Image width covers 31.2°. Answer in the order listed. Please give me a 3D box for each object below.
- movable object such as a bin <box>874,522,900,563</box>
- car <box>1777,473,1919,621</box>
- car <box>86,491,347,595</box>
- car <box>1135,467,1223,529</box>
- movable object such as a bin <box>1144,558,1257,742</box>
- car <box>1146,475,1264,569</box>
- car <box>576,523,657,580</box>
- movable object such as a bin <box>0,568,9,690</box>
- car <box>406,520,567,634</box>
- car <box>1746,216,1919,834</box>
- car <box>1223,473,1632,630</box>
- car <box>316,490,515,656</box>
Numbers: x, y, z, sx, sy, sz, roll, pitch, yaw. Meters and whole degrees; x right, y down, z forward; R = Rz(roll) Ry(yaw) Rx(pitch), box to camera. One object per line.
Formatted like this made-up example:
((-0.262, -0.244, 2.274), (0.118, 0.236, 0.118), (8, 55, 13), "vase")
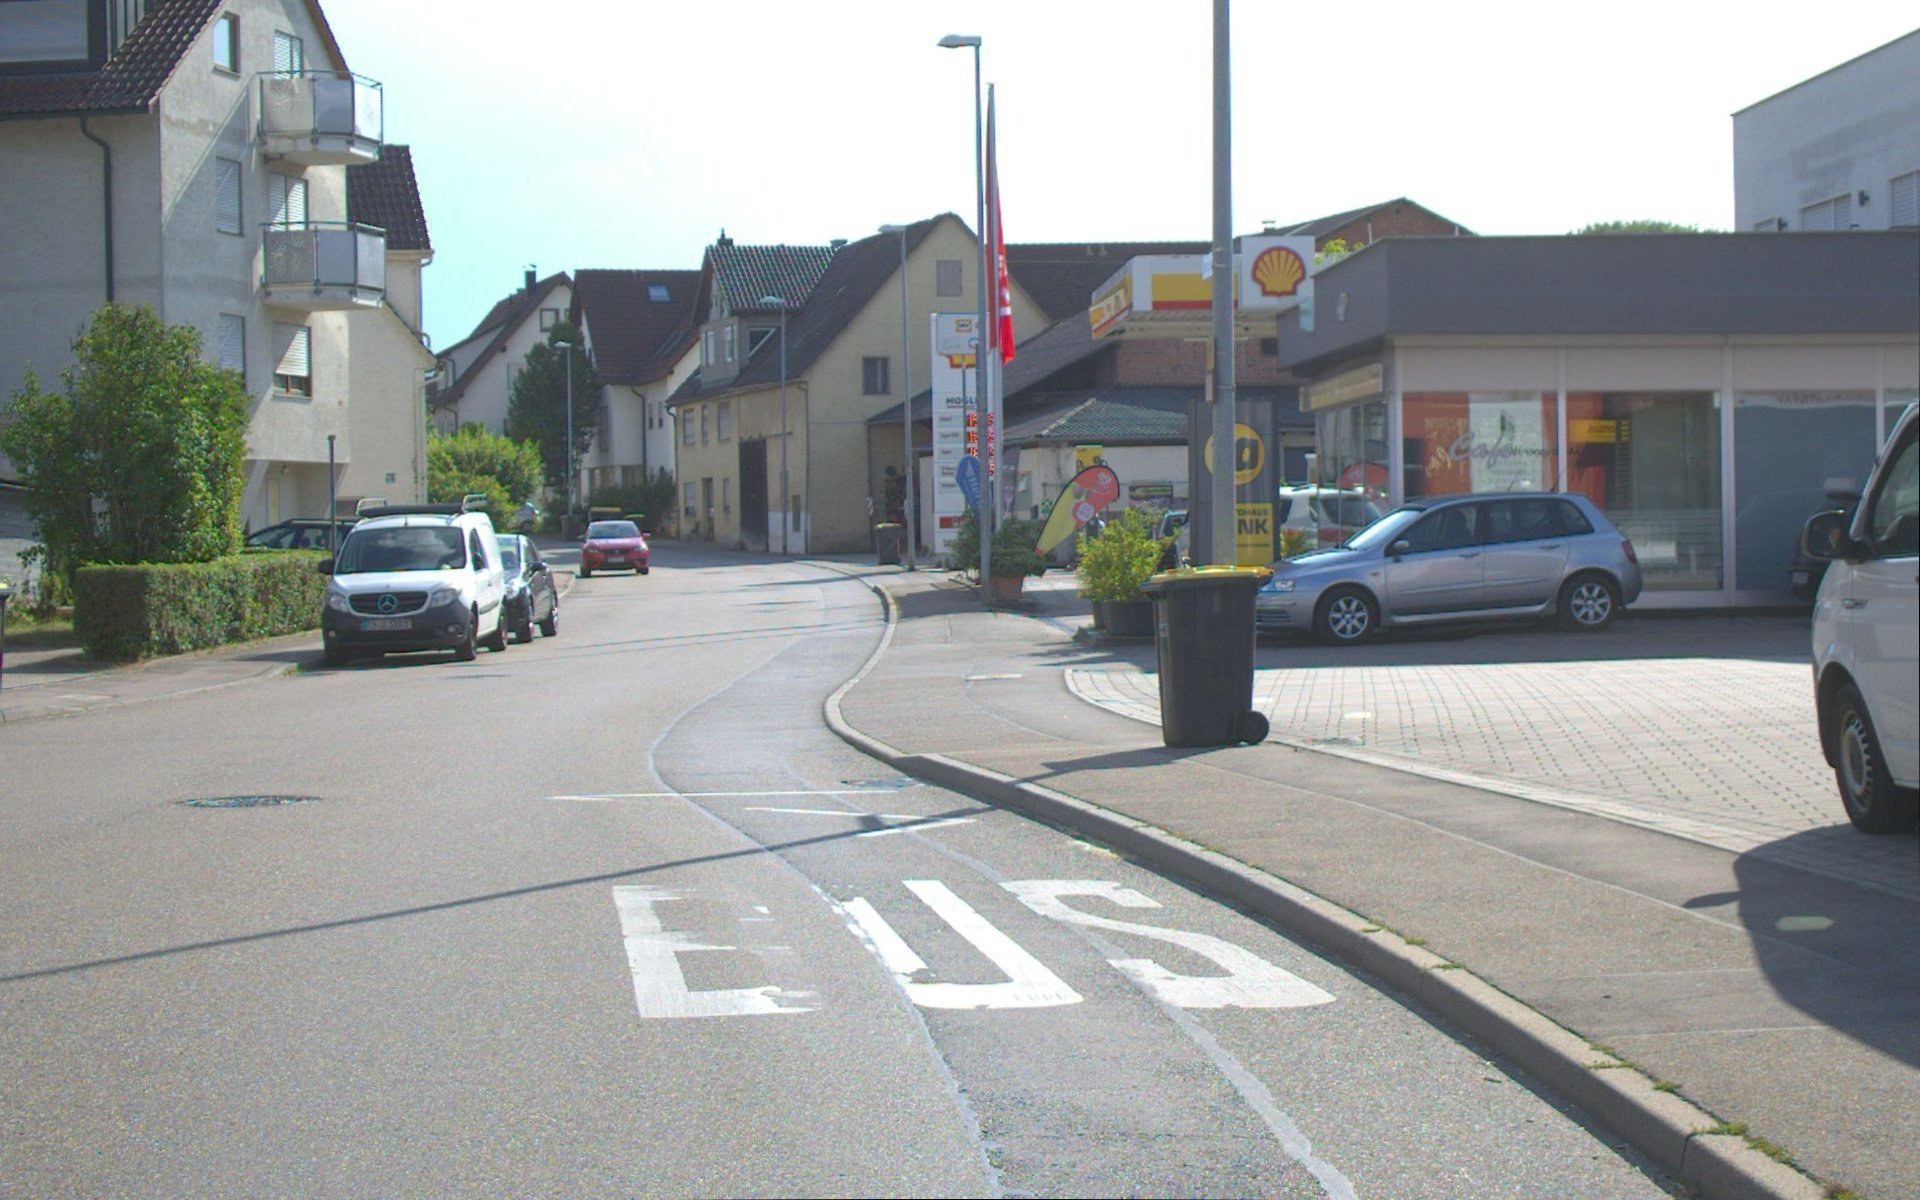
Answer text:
((-1.945, -1.544, 91.973), (0.653, 1.069, 0.513), (-1, 2, -4), "movable object such as a bin")
((10.811, -0.603, 36.319), (3.904, 1.462, 1.717), (-1, 3, -5), "car")
((-12.865, -1.002, 59.595), (3.989, 1.533, 1.762), (4, 2, 10), "car")
((5.148, -2.412, 81.213), (1.578, 1.422, 4.382), (0, 2, -3), "car")
((1.452, 0.293, 20.808), (0.567, 1.071, 0.573), (-2, 1, -5), "movable object such as a bin")
((4.328, -1.420, 61.184), (1.671, 1.572, 3.999), (-2, 2, -2), "car")
((-9.208, -1.306, 91.991), (1.708, 1.430, 3.781), (-3, 1, -12), "car")
((-8.960, 0.263, 30.991), (0.611, 1.097, 0.576), (0, 0, -1), "movable object such as a bin")
((-6.483, -0.350, 47.405), (1.672, 1.446, 3.835), (-2, 2, 0), "car")
((4.634, -0.292, 12.705), (1.836, 2.366, 5.179), (-2, 1, -5), "car")
((4.921, -0.525, 36.368), (3.986, 1.526, 1.528), (-2, 2, -9), "car")
((-6.584, -0.369, 41.947), (1.716, 1.866, 4.192), (-2, 2, 0), "car")
